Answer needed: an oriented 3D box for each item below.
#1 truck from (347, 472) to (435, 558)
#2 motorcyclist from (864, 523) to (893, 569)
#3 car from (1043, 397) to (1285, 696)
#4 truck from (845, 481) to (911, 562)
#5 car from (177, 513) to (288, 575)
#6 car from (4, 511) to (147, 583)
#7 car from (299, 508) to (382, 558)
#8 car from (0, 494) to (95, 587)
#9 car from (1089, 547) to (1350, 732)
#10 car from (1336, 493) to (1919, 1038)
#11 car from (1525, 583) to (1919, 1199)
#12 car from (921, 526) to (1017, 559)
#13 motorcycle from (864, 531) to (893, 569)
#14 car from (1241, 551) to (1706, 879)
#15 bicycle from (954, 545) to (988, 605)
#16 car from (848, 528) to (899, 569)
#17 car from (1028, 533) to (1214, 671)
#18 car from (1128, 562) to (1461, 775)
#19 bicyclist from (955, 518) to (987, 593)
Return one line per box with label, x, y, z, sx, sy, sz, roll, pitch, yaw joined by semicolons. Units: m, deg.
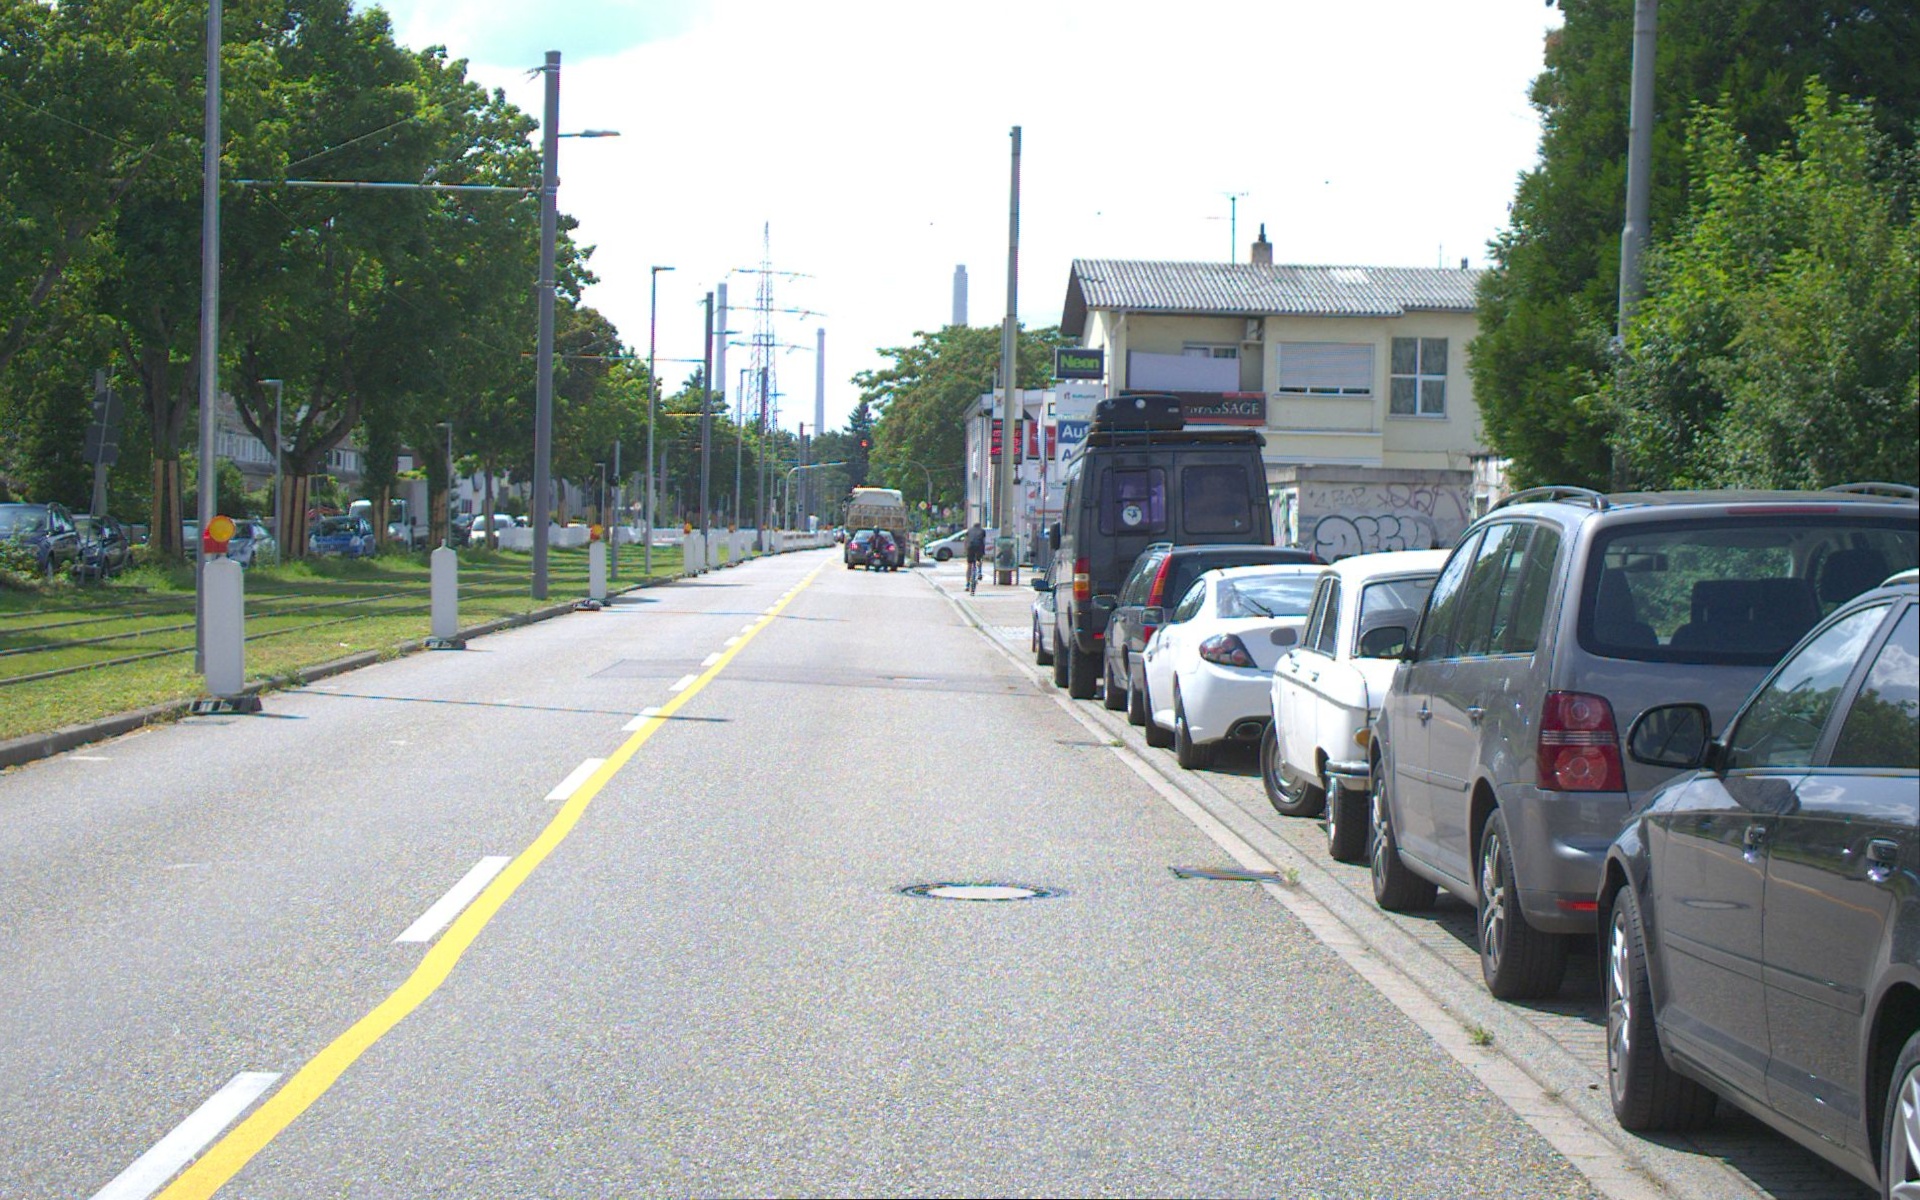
truck;-18.981;-2.851;114.937;1.993;2.758;6.277;-1;2;-1
motorcyclist;-2.912;-1.939;123.200;0.939;1.609;1.205;4;1;-1
car;1.946;-0.534;34.209;1.996;2.751;4.879;0;1;-1
truck;-3.395;-3.343;144.165;2.610;3.244;9.183;1;2;-1
car;-18.254;-1.404;86.454;1.804;1.477;4.940;1;1;-1
car;-18.127;-1.076;70.607;1.993;1.434;4.000;0;1;-2
car;-18.723;-2.016;104.053;1.993;1.448;4.001;1;1;-3
car;-17.713;-1.116;64.868;1.993;1.685;4.392;1;1;-5
car;2.090;0.268;28.933;1.721;1.397;4.837;0;1;-1
car;2.506;0.462;12.438;1.679;1.624;4.271;0;1;-2
car;2.491;0.683;7.455;1.685;1.432;4.517;0;0;-1
car;0.423;-2.755;165.367;4.329;1.546;1.950;1;0;-9
motorcycle;-2.928;-1.790;123.383;0.939;1.316;2.645;4;1;-1
car;2.417;0.477;17.092;1.649;1.413;4.026;0;1;-1
bicycle;0.245;-0.609;80.870;0.692;1.357;2.419;1;1;-2
car;-3.199;-1.941;127.853;1.821;1.419;4.000;2;1;-1
car;1.834;0.000;40.358;1.691;1.511;4.357;1;1;-4
car;2.186;0.402;23.472;1.721;1.291;4.129;0;1;-2
bicyclist;0.261;-1.057;80.803;0.671;1.738;0.814;2;1;-2
